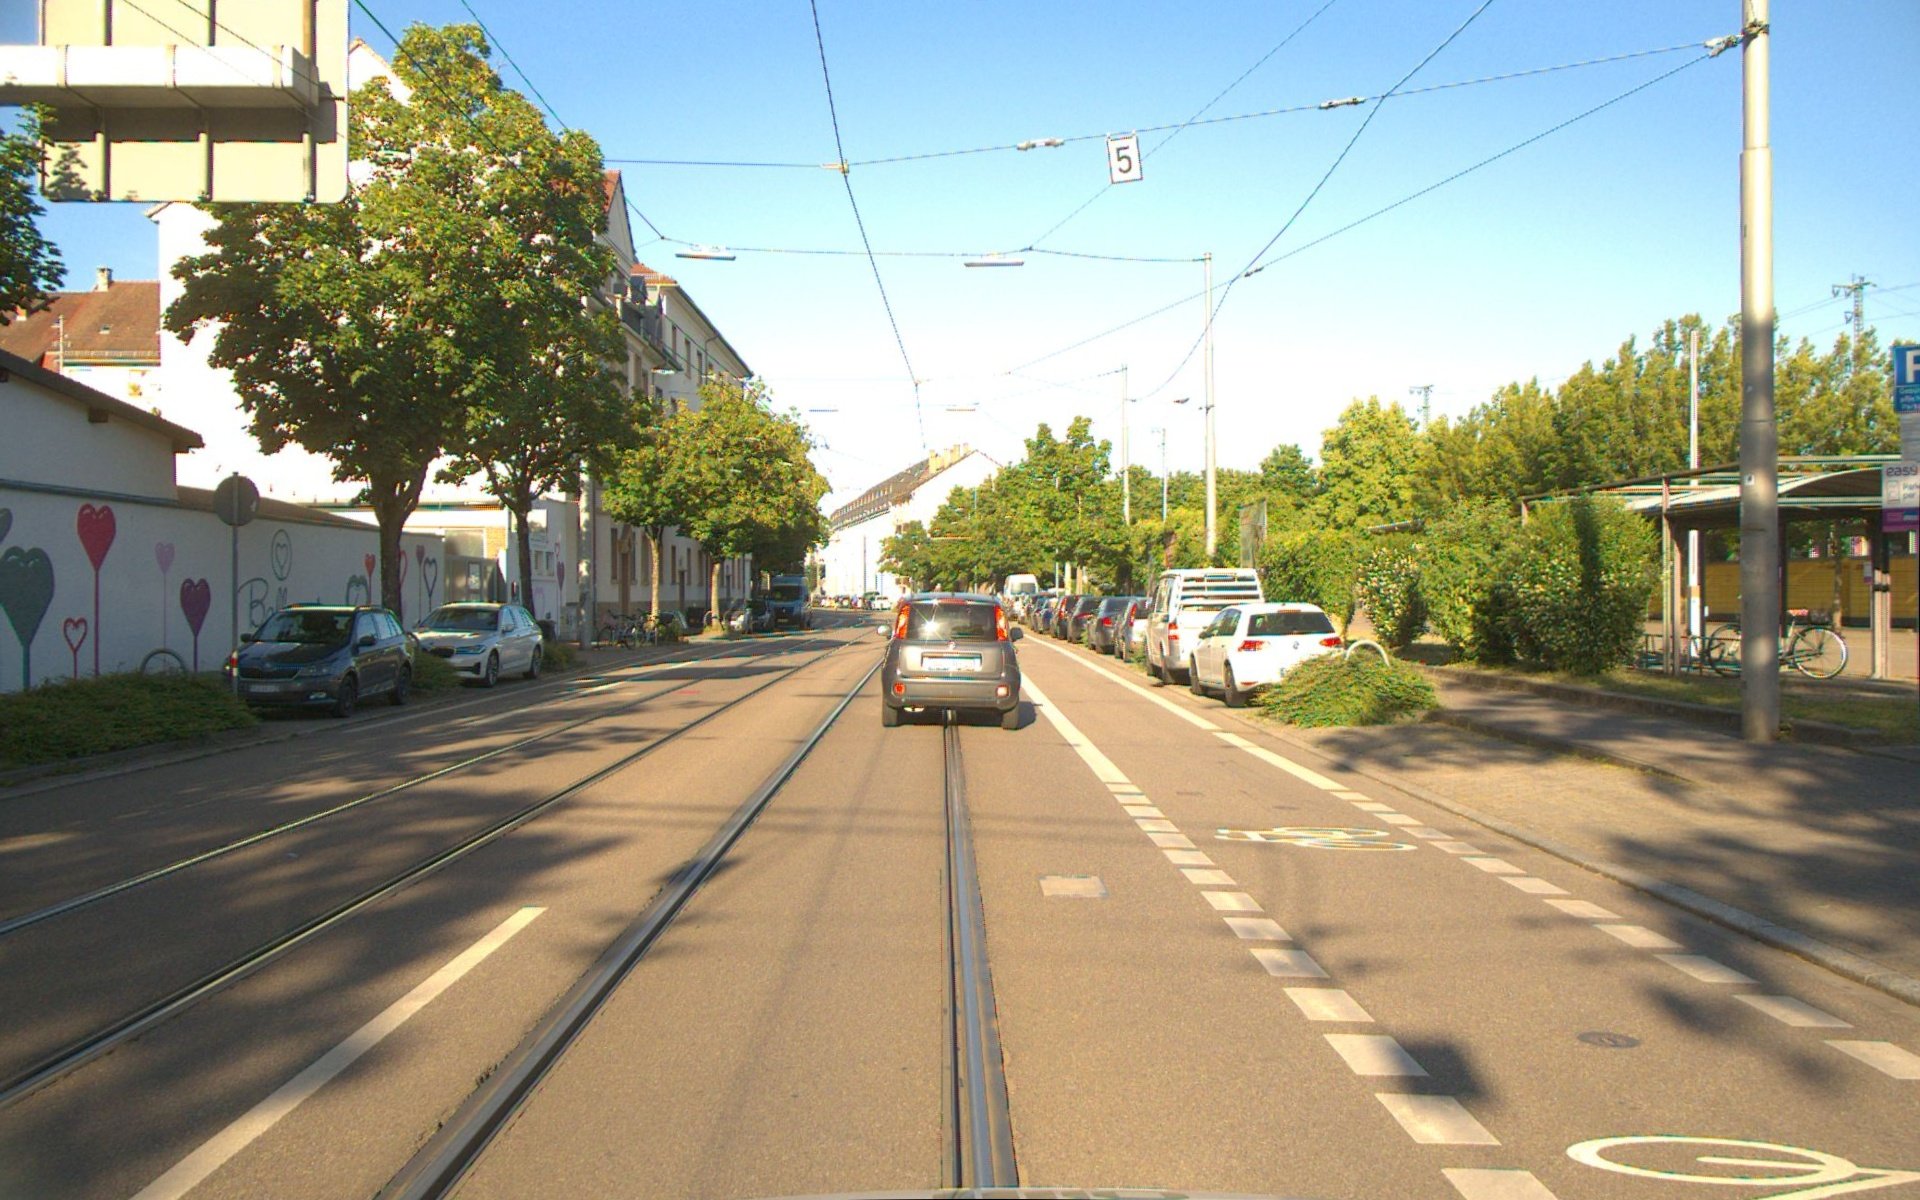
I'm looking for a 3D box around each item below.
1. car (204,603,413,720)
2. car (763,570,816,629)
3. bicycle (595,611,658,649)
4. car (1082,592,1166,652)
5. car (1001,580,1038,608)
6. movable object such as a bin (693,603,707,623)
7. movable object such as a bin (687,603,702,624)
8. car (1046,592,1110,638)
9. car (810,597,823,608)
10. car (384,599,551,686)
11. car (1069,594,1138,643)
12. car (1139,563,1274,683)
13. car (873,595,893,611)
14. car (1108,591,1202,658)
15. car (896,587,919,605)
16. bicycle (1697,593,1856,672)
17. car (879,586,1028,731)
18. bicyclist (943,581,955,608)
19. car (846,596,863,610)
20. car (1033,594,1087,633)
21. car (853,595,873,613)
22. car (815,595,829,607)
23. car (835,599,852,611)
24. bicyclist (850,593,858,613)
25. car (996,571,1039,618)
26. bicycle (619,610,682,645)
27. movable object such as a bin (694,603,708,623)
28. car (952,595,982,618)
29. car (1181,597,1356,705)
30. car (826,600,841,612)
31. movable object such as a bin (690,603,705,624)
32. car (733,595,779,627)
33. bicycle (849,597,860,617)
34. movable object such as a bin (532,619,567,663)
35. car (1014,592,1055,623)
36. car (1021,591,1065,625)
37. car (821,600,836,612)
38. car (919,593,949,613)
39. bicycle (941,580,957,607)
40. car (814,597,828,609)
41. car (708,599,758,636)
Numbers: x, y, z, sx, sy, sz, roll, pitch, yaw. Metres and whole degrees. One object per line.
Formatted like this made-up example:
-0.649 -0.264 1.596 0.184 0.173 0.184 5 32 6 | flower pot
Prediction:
-9.163 0.808 23.637 1.739 1.512 4.298 1 0 -7 | car
-8.687 -0.014 84.676 1.976 2.875 6.032 1 0 0 | car
-9.489 0.856 47.066 0.656 1.058 1.779 0 0 36 | bicycle
4.329 0.561 44.246 1.787 1.510 4.601 1 0 0 | car
3.423 -0.355 96.148 1.872 1.556 4.599 -1 0 -2 | car
-12.196 0.613 77.562 0.584 0.951 0.568 -1 0 -3 | movable object such as a bin
-12.159 0.619 75.766 0.584 0.951 0.568 -1 0 -3 | movable object such as a bin
4.159 0.513 58.595 1.788 1.519 3.813 -2 0 -2 | car
-20.606 0.376 237.083 1.555 1.627 3.367 1 0 -11 | car
-9.241 0.759 31.439 1.827 1.516 4.660 1 0 -1 | car
4.504 0.559 52.519 1.787 1.477 4.641 -1 0 0 | car
4.482 0.389 30.838 1.816 2.026 5.242 -1 0 1 | car
-7.974 0.270 171.247 1.626 1.599 3.489 1 0 -11 | car
4.584 0.563 39.443 1.834 1.498 4.076 1 0 1 | car
-4.838 -0.391 153.025 1.606 1.534 3.389 -3 0 -10 | car
11.119 0.435 22.573 1.856 1.026 0.577 1 0 11 | bicycle
-0.102 0.645 20.331 1.616 1.568 4.234 1 0 -1 | car
-0.766 -0.383 112.556 0.687 1.790 0.755 1 0 -12 | bicyclist
-12.241 0.371 191.818 1.626 1.526 3.121 1 0 -11 | car
4.071 0.539 67.639 1.693 1.489 4.338 1 0 -3 | car
-10.945 0.393 186.106 1.626 1.978 4.652 1 0 -11 | car
-18.882 0.092 225.891 1.555 1.627 3.367 1 0 -11 | car
-14.115 0.607 200.743 1.555 1.429 3.367 -4 1 -11 | car
-11.103 0.286 173.588 0.702 2.049 0.829 1 0 -12 | bicyclist
3.552 -0.321 102.645 2.136 2.712 6.088 -2 0 -2 | car
-9.473 0.848 50.677 0.523 1.058 1.974 0 0 43 | bicycle
-12.236 0.602 78.131 0.584 0.951 0.568 -1 0 -3 | movable object such as a bin
0.475 0.481 121.631 1.657 1.556 3.993 -2 0 -7 | car
4.624 0.718 25.425 1.642 1.442 4.500 -2 0 -2 | car
-16.261 0.761 212.369 1.555 1.430 3.367 1 0 -11 | car
-12.120 0.631 76.362 0.584 0.951 0.568 -1 0 -3 | movable object such as a bin
-9.445 0.512 76.830 1.617 1.450 4.189 1 0 0 | car
-11.101 0.757 173.527 0.728 2.049 2.804 1 0 -11 | bicycle
-9.640 0.953 38.889 0.570 0.976 0.702 5 0 0 | movable object such as a bin
3.893 0.388 86.675 1.693 1.539 4.249 1 0 -3 | car
4.066 0.376 81.890 1.693 1.632 4.339 1 0 -3 | car
-17.404 0.806 218.901 1.555 1.627 3.367 1 0 -11 | car
-2.187 0.245 138.108 1.660 1.556 3.986 -2 0 -13 | car
-0.755 -0.434 112.606 0.663 1.777 2.151 1 0 -11 | bicycle
-19.395 0.377 231.437 1.555 1.627 3.367 1 0 -11 | car
-9.647 0.716 70.507 1.617 1.517 4.000 1 0 0 | car
